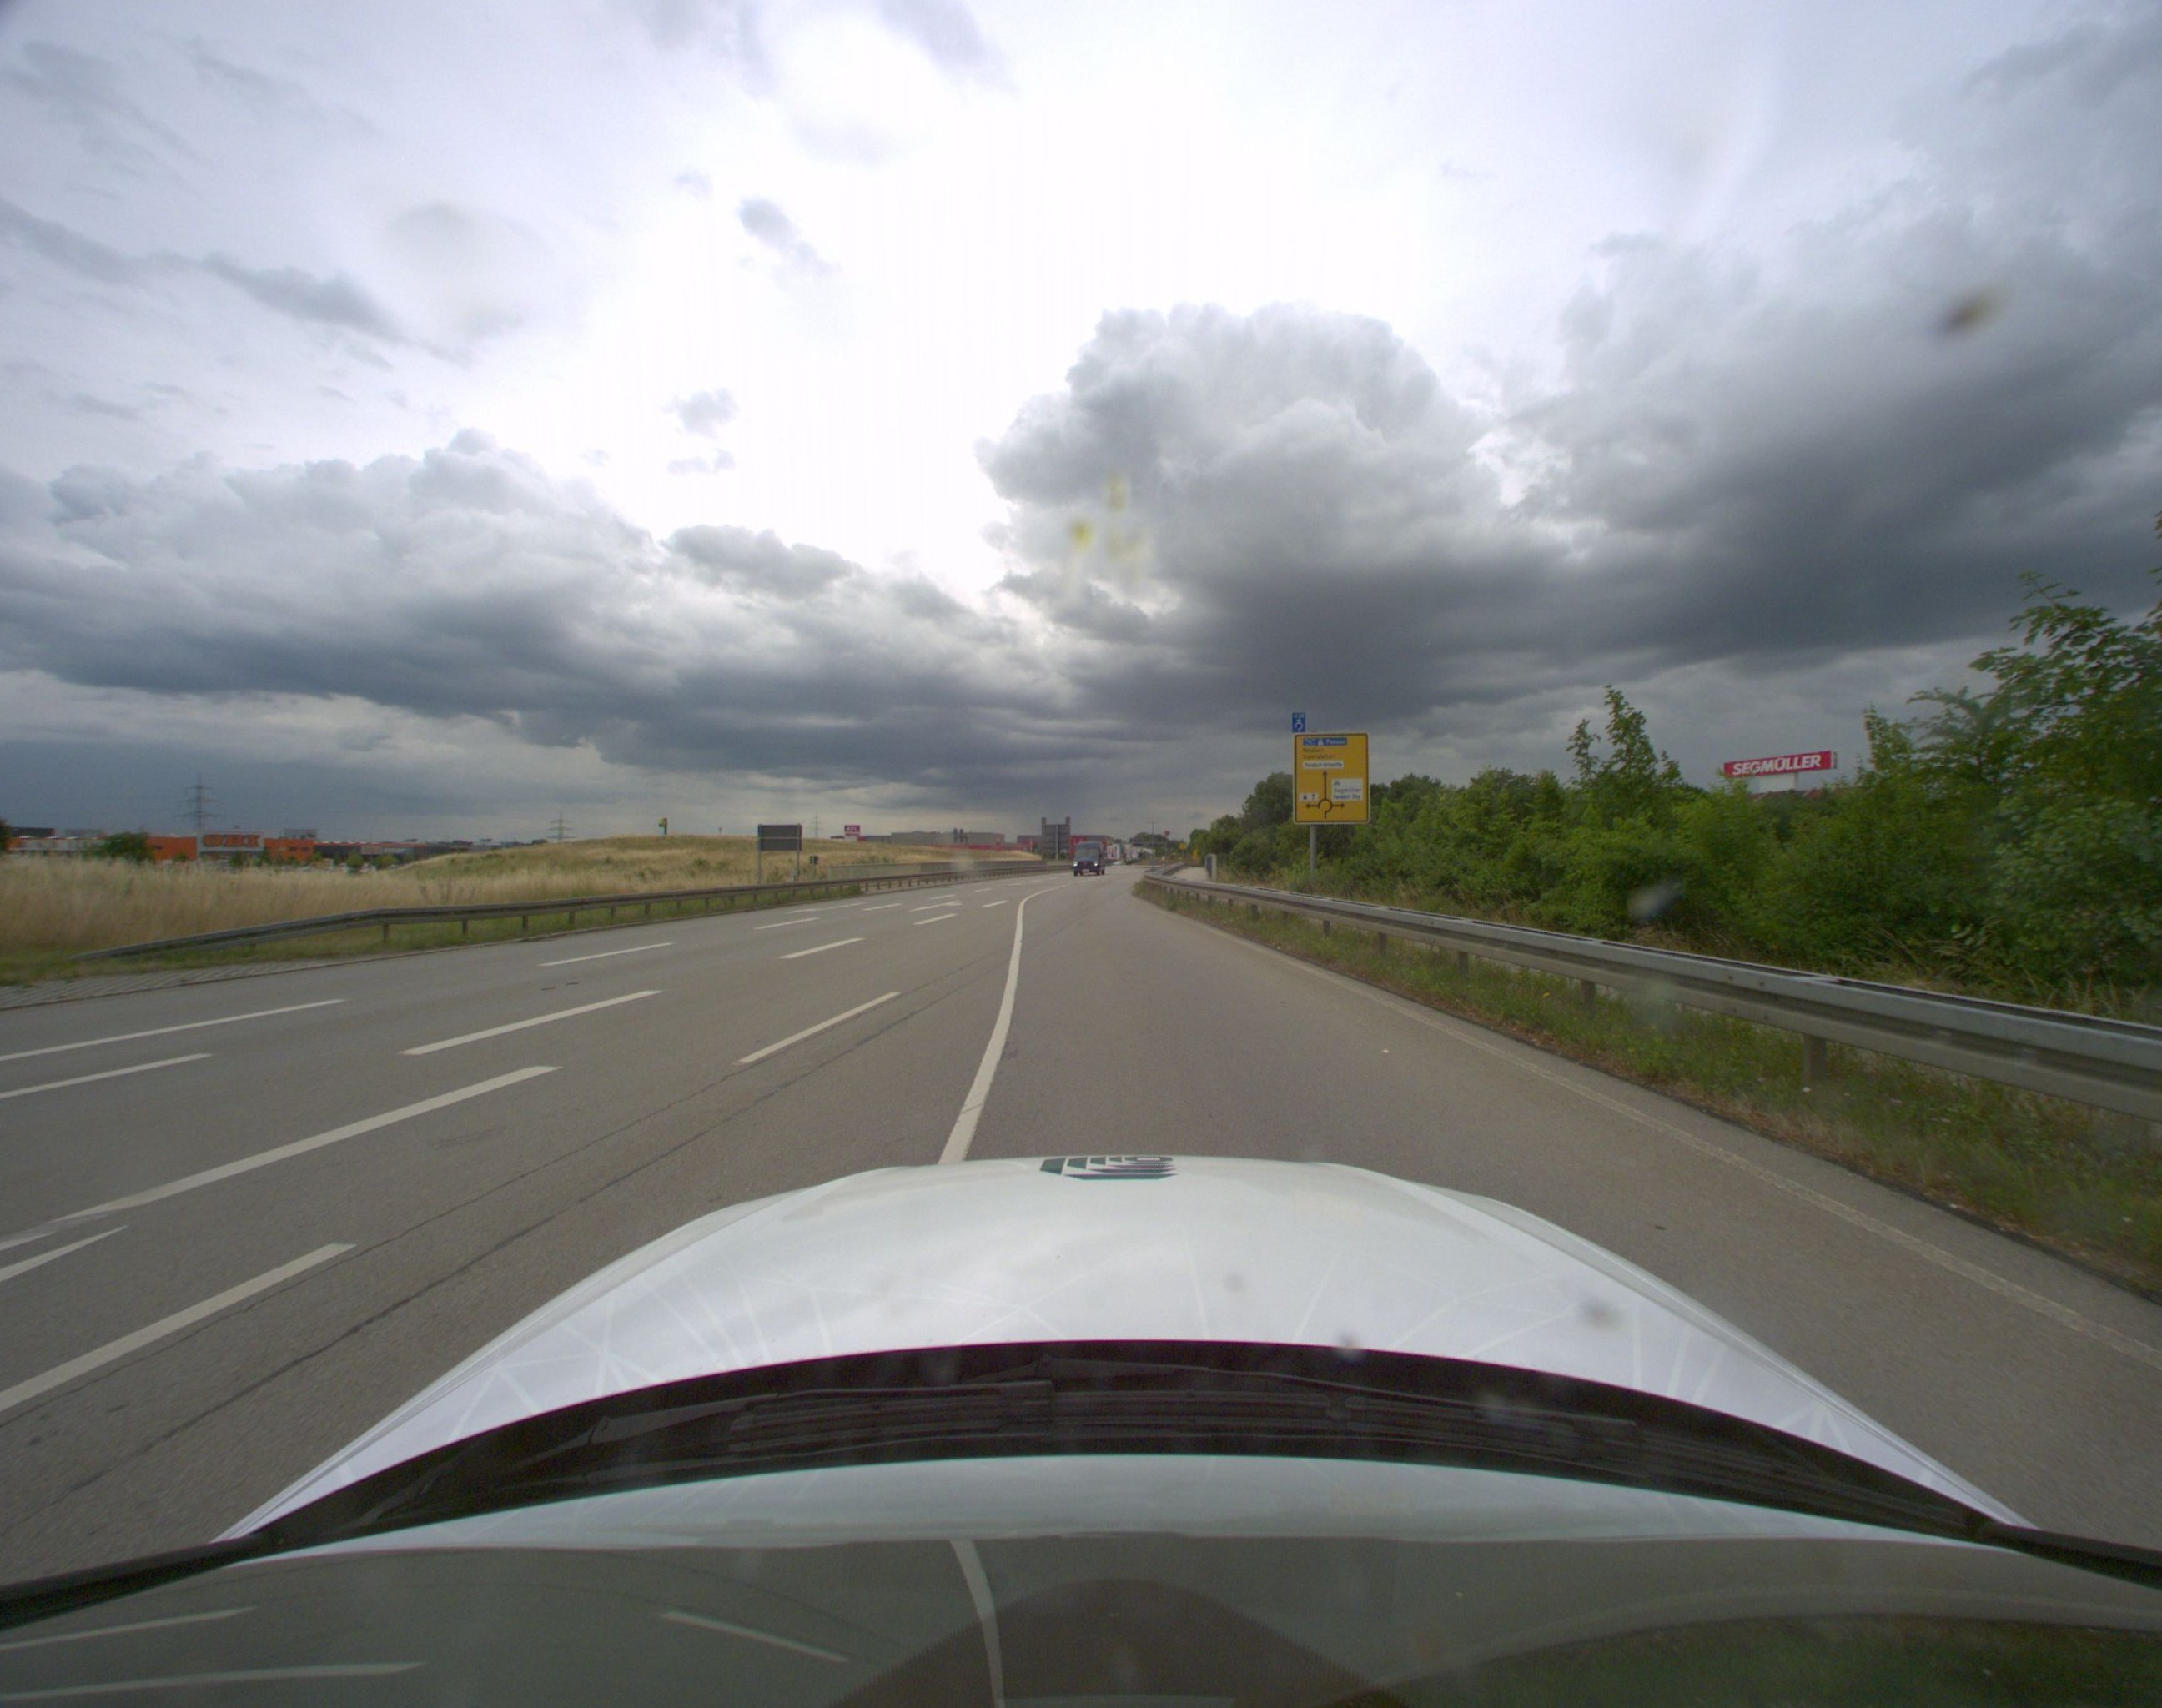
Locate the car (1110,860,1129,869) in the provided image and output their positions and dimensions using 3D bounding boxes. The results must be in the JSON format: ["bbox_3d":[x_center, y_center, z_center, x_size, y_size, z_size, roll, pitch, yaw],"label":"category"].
[{"bbox_3d":[8.839,2.420,186.831,3.949,1.876,2.013,0,0,31],"label":"car"}]

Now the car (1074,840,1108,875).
[{"bbox_3d":[0.814,0.242,63.317,1.983,2.592,6.016,-1,0,7],"label":"car"}]
